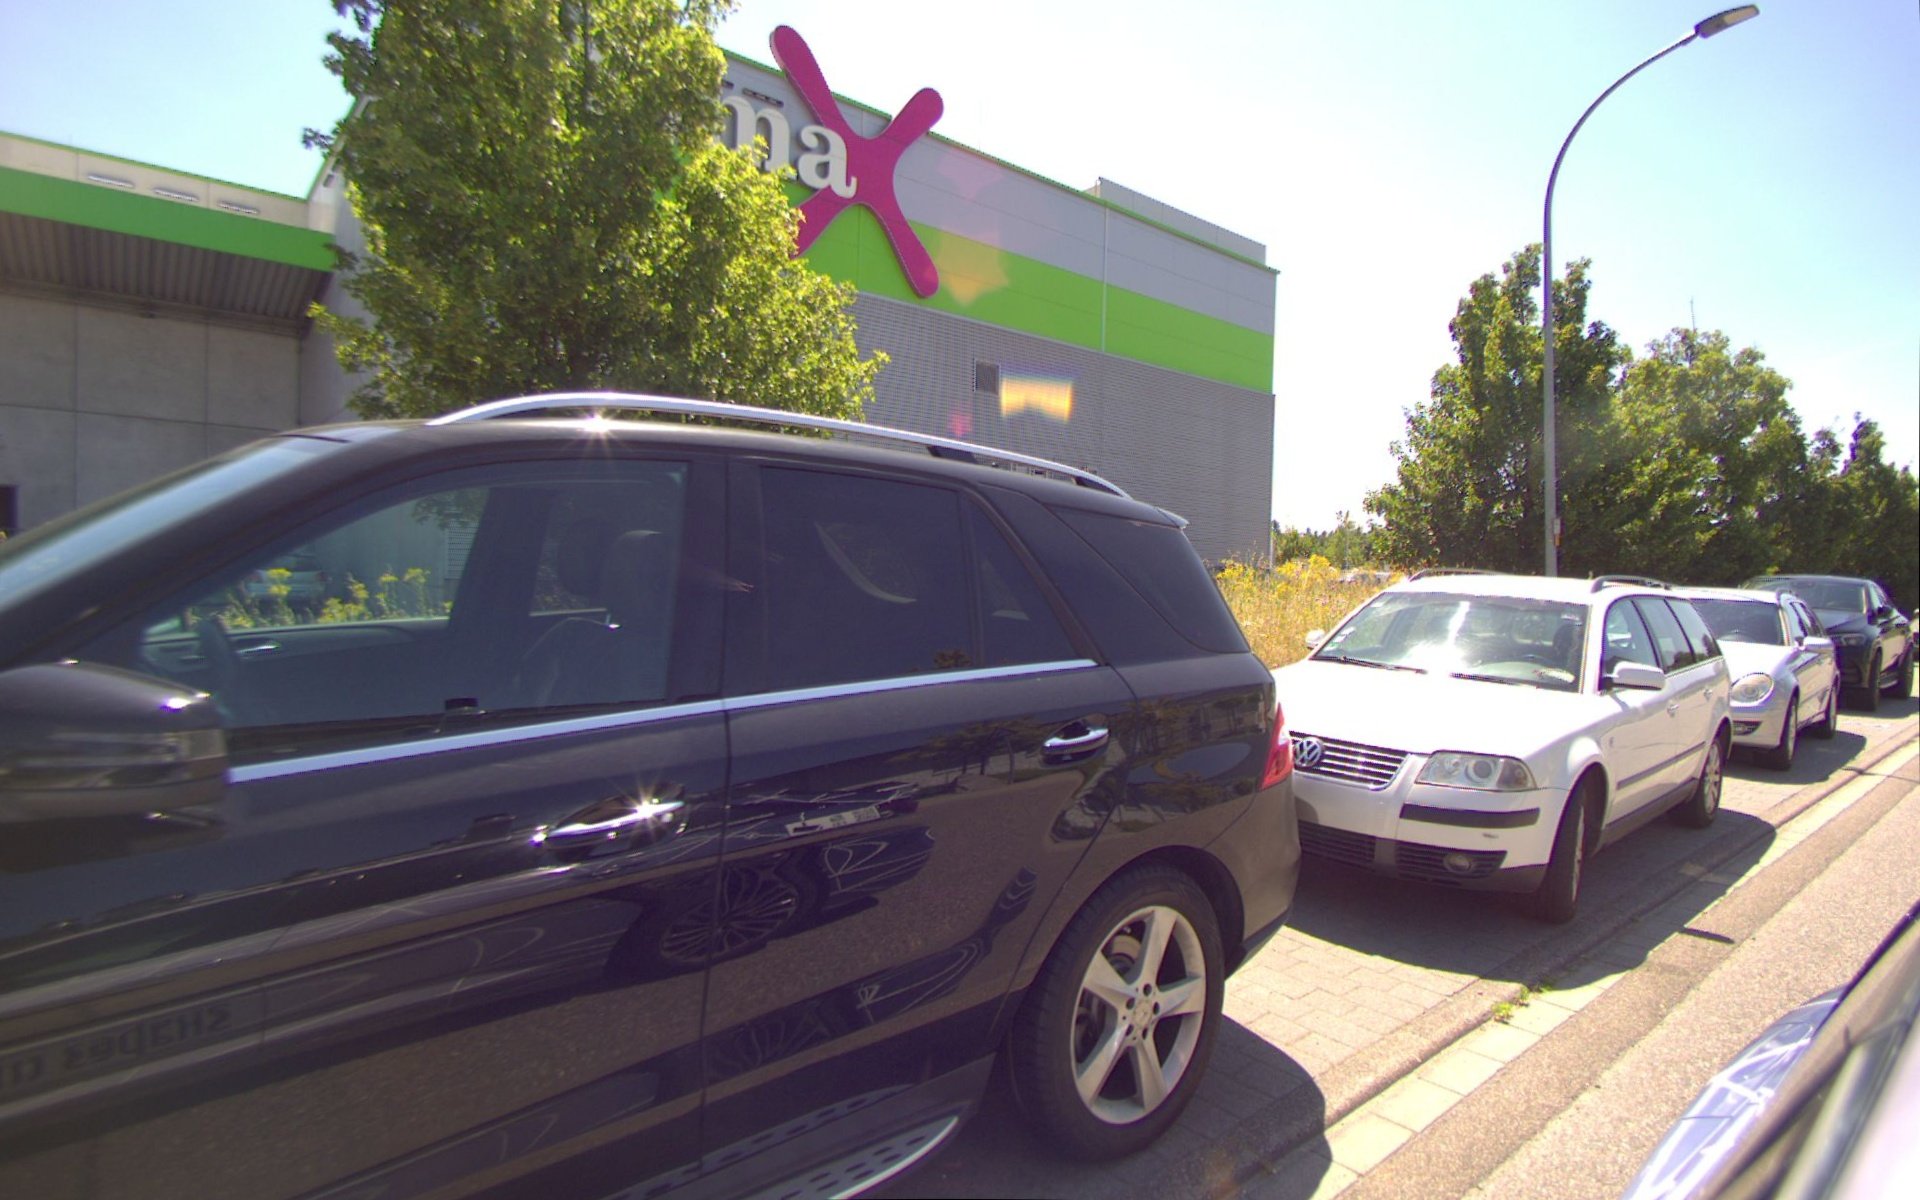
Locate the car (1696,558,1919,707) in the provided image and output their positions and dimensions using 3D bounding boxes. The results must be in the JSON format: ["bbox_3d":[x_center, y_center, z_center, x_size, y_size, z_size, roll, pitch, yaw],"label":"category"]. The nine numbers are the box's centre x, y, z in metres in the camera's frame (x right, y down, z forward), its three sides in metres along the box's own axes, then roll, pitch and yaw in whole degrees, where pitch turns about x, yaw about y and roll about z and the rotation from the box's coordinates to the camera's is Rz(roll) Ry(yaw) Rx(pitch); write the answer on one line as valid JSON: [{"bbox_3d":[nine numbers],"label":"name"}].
[{"bbox_3d":[12.298,0.366,14.326,4.464,1.721,1.954,0,4,-40],"label":"car"}]

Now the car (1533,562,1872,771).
[{"bbox_3d":[7.415,0.472,9.900,4.694,1.500,1.807,0,4,-44],"label":"car"}]

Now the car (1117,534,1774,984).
[{"bbox_3d":[3.040,0.499,5.688,4.694,1.500,1.716,0,4,-44],"label":"car"}]

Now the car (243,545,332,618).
[{"bbox_3d":[-15.695,-0.478,23.561,1.521,1.552,3.398,0,3,-37],"label":"car"}]

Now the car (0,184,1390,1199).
[{"bbox_3d":[-1.157,0.379,2.158,4.688,1.746,1.816,0,4,-40],"label":"car"}]

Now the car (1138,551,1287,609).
[{"bbox_3d":[7.321,-0.580,29.153,4.324,1.517,1.998,0,3,-41],"label":"car"}]

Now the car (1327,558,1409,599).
[{"bbox_3d":[20.395,-1.043,50.550,4.323,1.808,1.998,2,1,-41],"label":"car"}]

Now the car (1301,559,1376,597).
[{"bbox_3d":[21.076,-1.203,56.242,4.323,1.873,1.998,2,1,-41],"label":"car"}]
